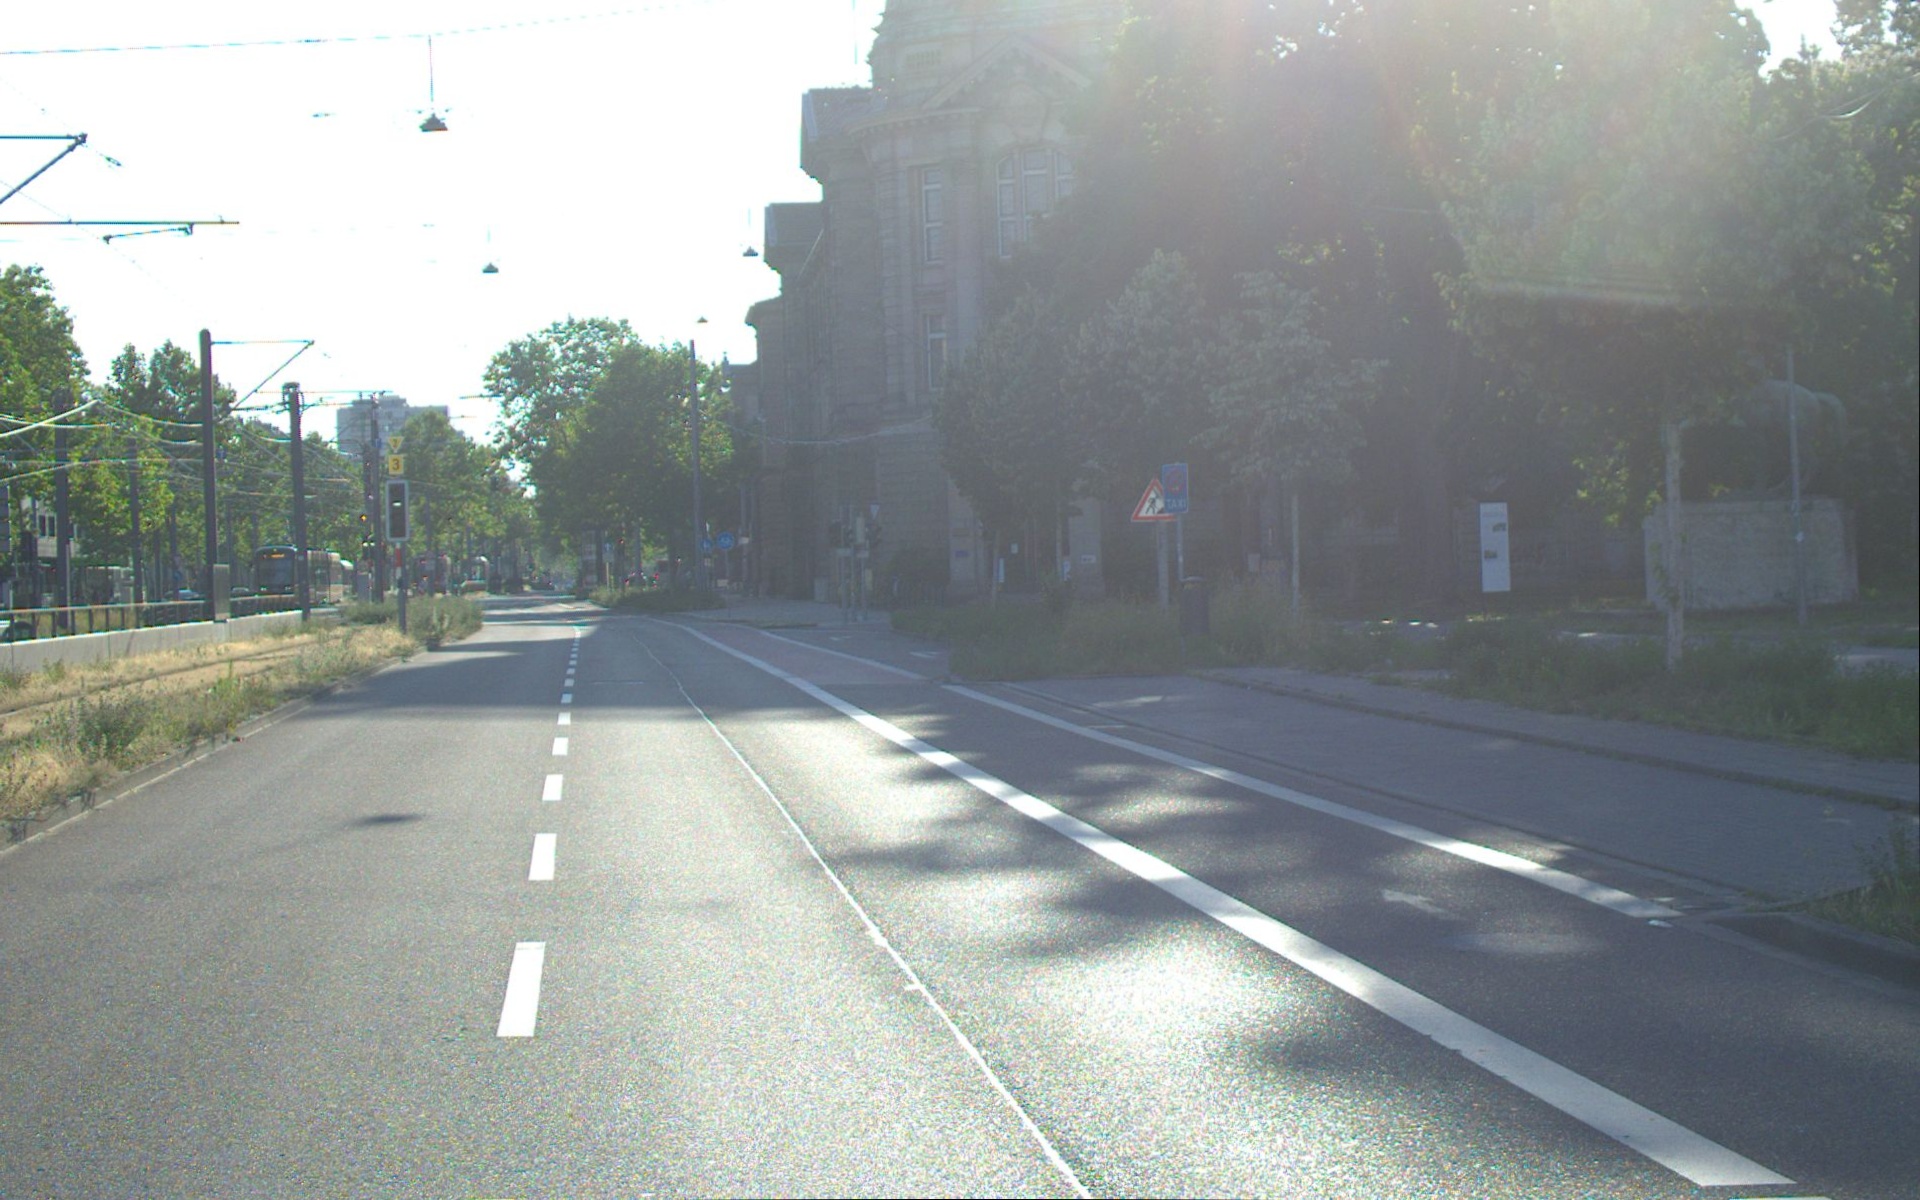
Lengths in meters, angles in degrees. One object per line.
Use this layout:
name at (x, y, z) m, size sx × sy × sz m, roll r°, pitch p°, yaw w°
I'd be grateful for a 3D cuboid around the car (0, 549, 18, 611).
car at (-31.904, -0.621, 111.502) m, size 1.993 × 2.007 × 4.001 m, roll -2°, pitch 1°, yaw -7°

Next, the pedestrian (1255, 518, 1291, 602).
pedestrian at (6.834, -0.884, 75.178) m, size 0.683 × 1.816 × 0.535 m, roll -2°, pitch 1°, yaw -1°
